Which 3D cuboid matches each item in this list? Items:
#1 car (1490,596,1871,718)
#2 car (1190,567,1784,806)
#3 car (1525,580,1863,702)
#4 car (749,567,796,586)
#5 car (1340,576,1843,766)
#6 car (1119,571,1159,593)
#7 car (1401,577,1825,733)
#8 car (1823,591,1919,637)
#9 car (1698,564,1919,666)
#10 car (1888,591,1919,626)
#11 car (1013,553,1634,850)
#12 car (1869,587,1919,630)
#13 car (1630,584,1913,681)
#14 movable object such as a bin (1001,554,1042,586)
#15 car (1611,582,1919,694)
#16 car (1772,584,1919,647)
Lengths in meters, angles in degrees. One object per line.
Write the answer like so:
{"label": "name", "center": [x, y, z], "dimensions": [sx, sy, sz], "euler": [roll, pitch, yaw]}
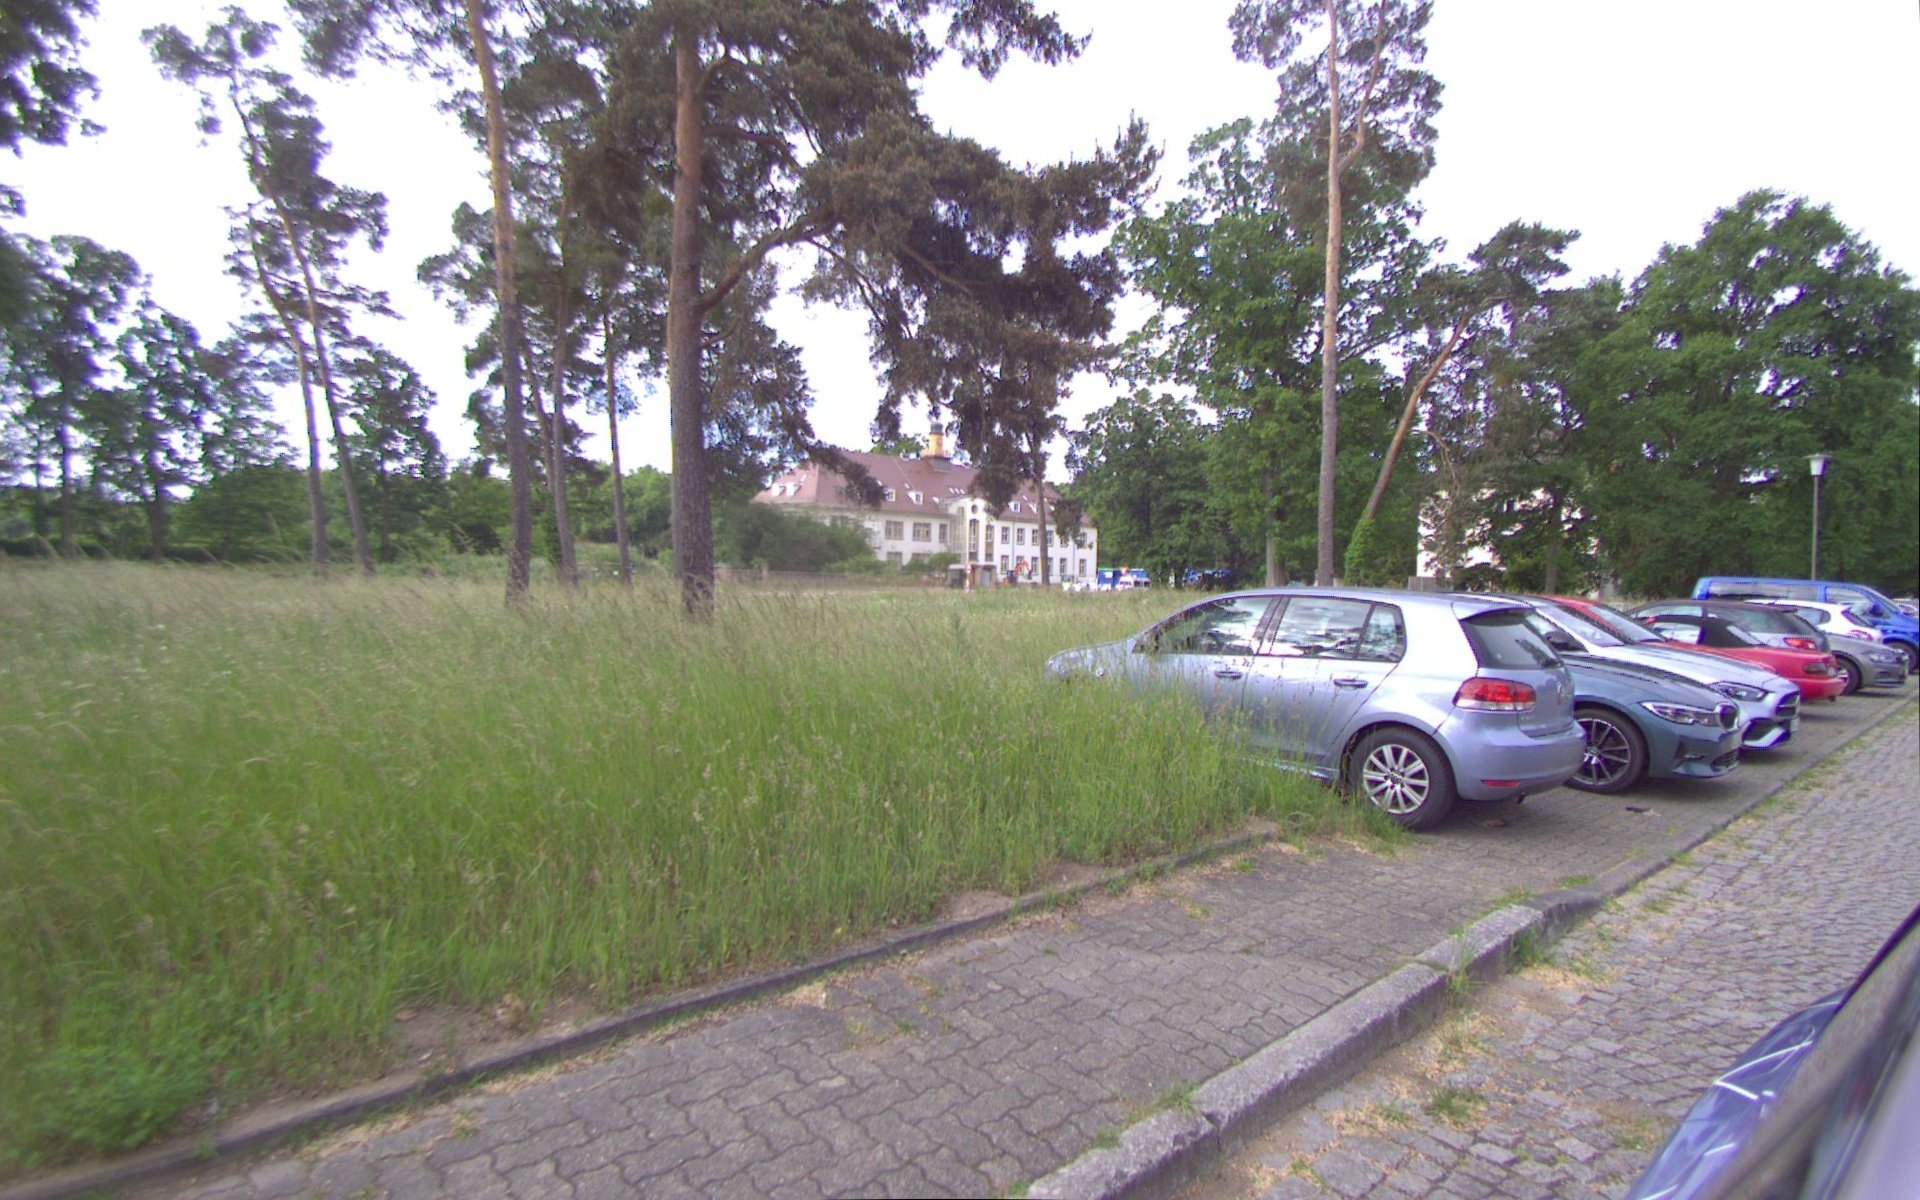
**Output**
{"label": "car", "center": [9.838, 0.677, 14.104], "dimensions": [1.522, 1.255, 4.049], "euler": [1, 3, -40]}
{"label": "car", "center": [4.463, 0.551, 9.192], "dimensions": [1.636, 1.400, 4.436], "euler": [0, 4, -42]}
{"label": "car", "center": [11.529, 0.546, 16.157], "dimensions": [1.571, 1.535, 4.052], "euler": [1, 3, -38]}
{"label": "car", "center": [-20.230, -2.524, 108.961], "dimensions": [5.779, 1.985, 2.160], "euler": [1, 1, 45]}
{"label": "car", "center": [6.532, 0.577, 10.923], "dimensions": [1.686, 1.491, 4.249], "euler": [1, 3, -39]}
{"label": "car", "center": [19.203, -1.930, 108.581], "dimensions": [4.371, 2.394, 1.860], "euler": [-1, 1, -42]}
{"label": "car", "center": [8.075, 0.547, 12.860], "dimensions": [1.687, 1.500, 4.182], "euler": [1, 3, -40]}
{"label": "car", "center": [33.689, 0.521, 36.168], "dimensions": [1.695, 1.462, 4.084], "euler": [1, 3, -39]}
{"label": "car", "center": [19.971, 0.274, 23.167], "dimensions": [1.878, 2.030, 4.603], "euler": [0, 3, -39]}
{"label": "car", "center": [44.951, 0.465, 45.737], "dimensions": [1.693, 1.552, 4.100], "euler": [1, 3, -34]}
{"label": "car", "center": [2.438, 0.493, 7.586], "dimensions": [1.669, 1.446, 4.008], "euler": [0, 4, -42]}
{"label": "car", "center": [41.401, 0.425, 42.798], "dimensions": [1.693, 1.715, 4.090], "euler": [1, 3, -34]}
{"label": "car", "center": [15.779, 0.554, 19.876], "dimensions": [1.571, 1.535, 4.052], "euler": [1, 3, -38]}
{"label": "movable object such as a bin", "center": [7.553, -3.697, 125.325], "dimensions": [2.015, 3.817, 5.461], "euler": [0, 1, -37]}
{"label": "car", "center": [13.965, 0.557, 17.585], "dimensions": [1.669, 1.535, 4.099], "euler": [1, 3, -38]}
{"label": "car", "center": [26.285, 0.432, 29.236], "dimensions": [1.624, 1.612, 4.085], "euler": [1, 3, -38]}
